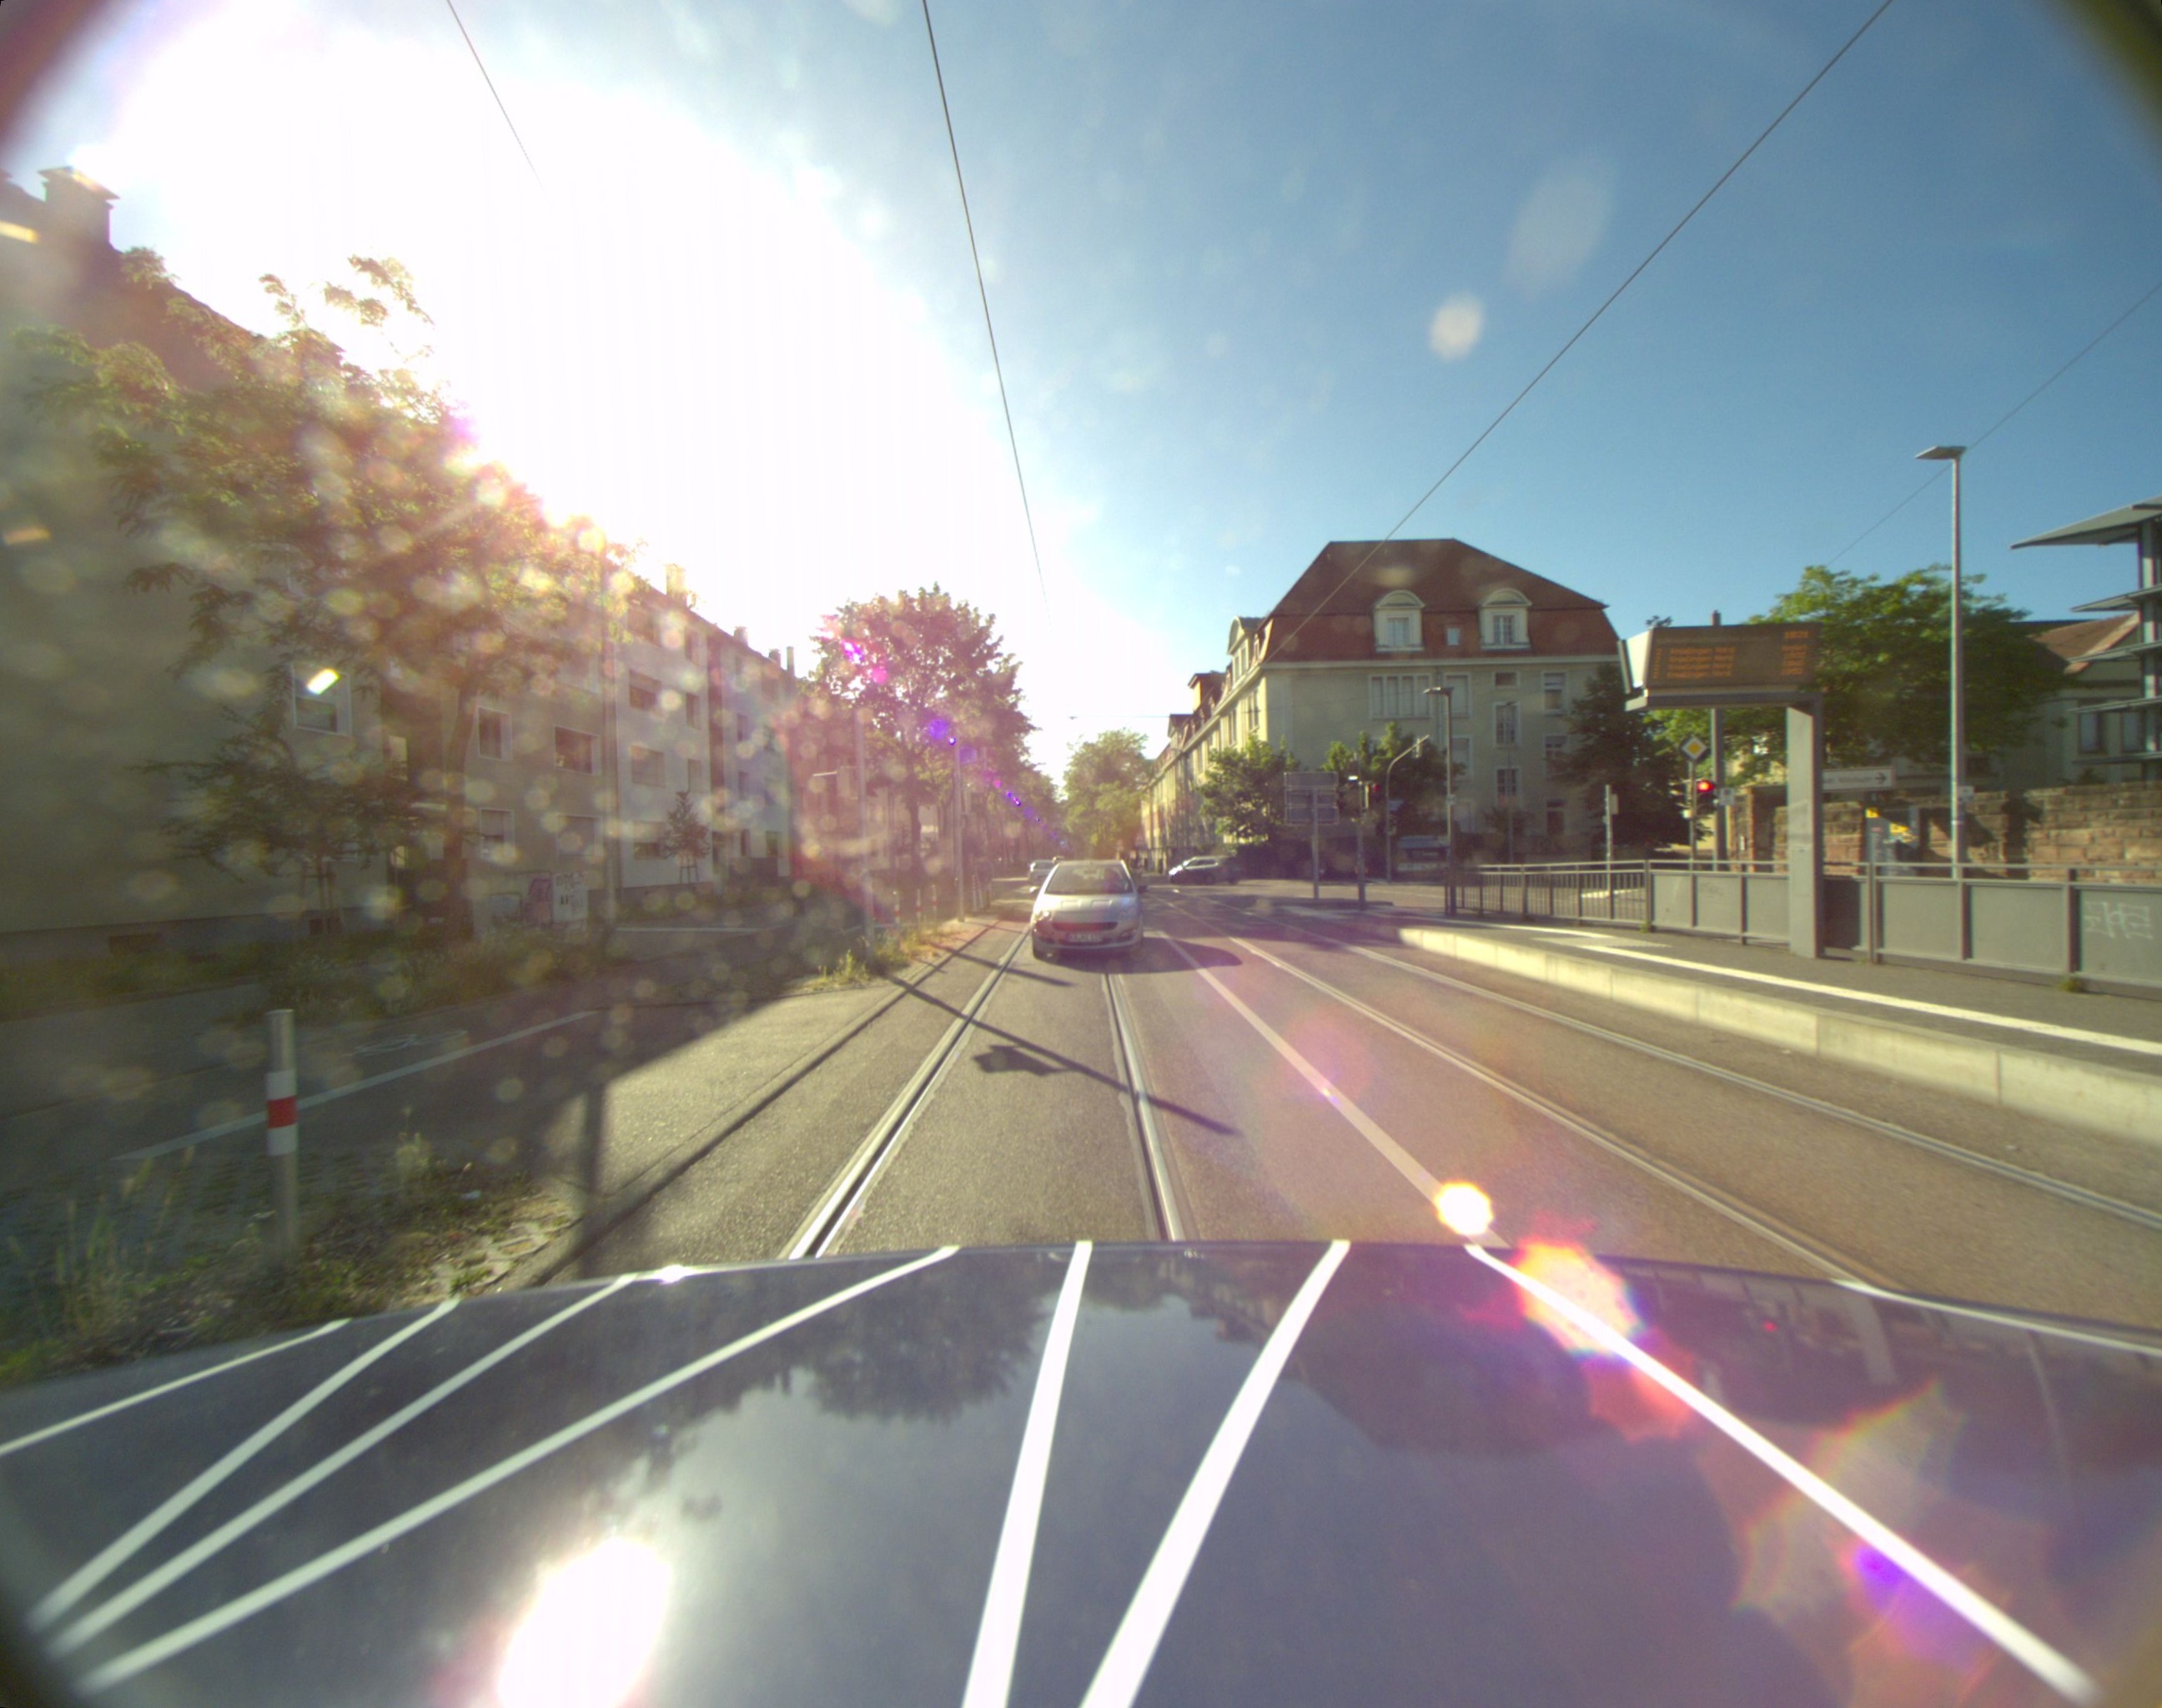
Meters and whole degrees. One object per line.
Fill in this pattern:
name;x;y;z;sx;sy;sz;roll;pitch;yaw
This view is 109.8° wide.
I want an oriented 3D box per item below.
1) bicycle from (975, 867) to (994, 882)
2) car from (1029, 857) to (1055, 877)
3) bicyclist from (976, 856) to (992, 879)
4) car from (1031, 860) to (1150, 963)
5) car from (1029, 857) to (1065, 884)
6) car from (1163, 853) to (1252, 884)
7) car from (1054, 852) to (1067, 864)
bicycle;-6.515;1.374;51.324;0.826;0.880;2.199;-1;0;4
car;-3.246;1.017;62.526;1.743;1.567;3.690;-1;0;-8
bicyclist;-6.535;0.879;51.305;0.818;1.491;1.258;-1;0;4
car;0.173;0.877;13.181;1.742;1.450;3.693;-1;0;1
car;-2.038;0.930;44.557;1.743;1.450;3.690;-1;0;-8
car;6.280;0.720;38.093;1.746;1.450;4.394;-2;0;-36
car;-3.272;0.618;121.035;1.825;1.751;3.692;-3;0;-4
